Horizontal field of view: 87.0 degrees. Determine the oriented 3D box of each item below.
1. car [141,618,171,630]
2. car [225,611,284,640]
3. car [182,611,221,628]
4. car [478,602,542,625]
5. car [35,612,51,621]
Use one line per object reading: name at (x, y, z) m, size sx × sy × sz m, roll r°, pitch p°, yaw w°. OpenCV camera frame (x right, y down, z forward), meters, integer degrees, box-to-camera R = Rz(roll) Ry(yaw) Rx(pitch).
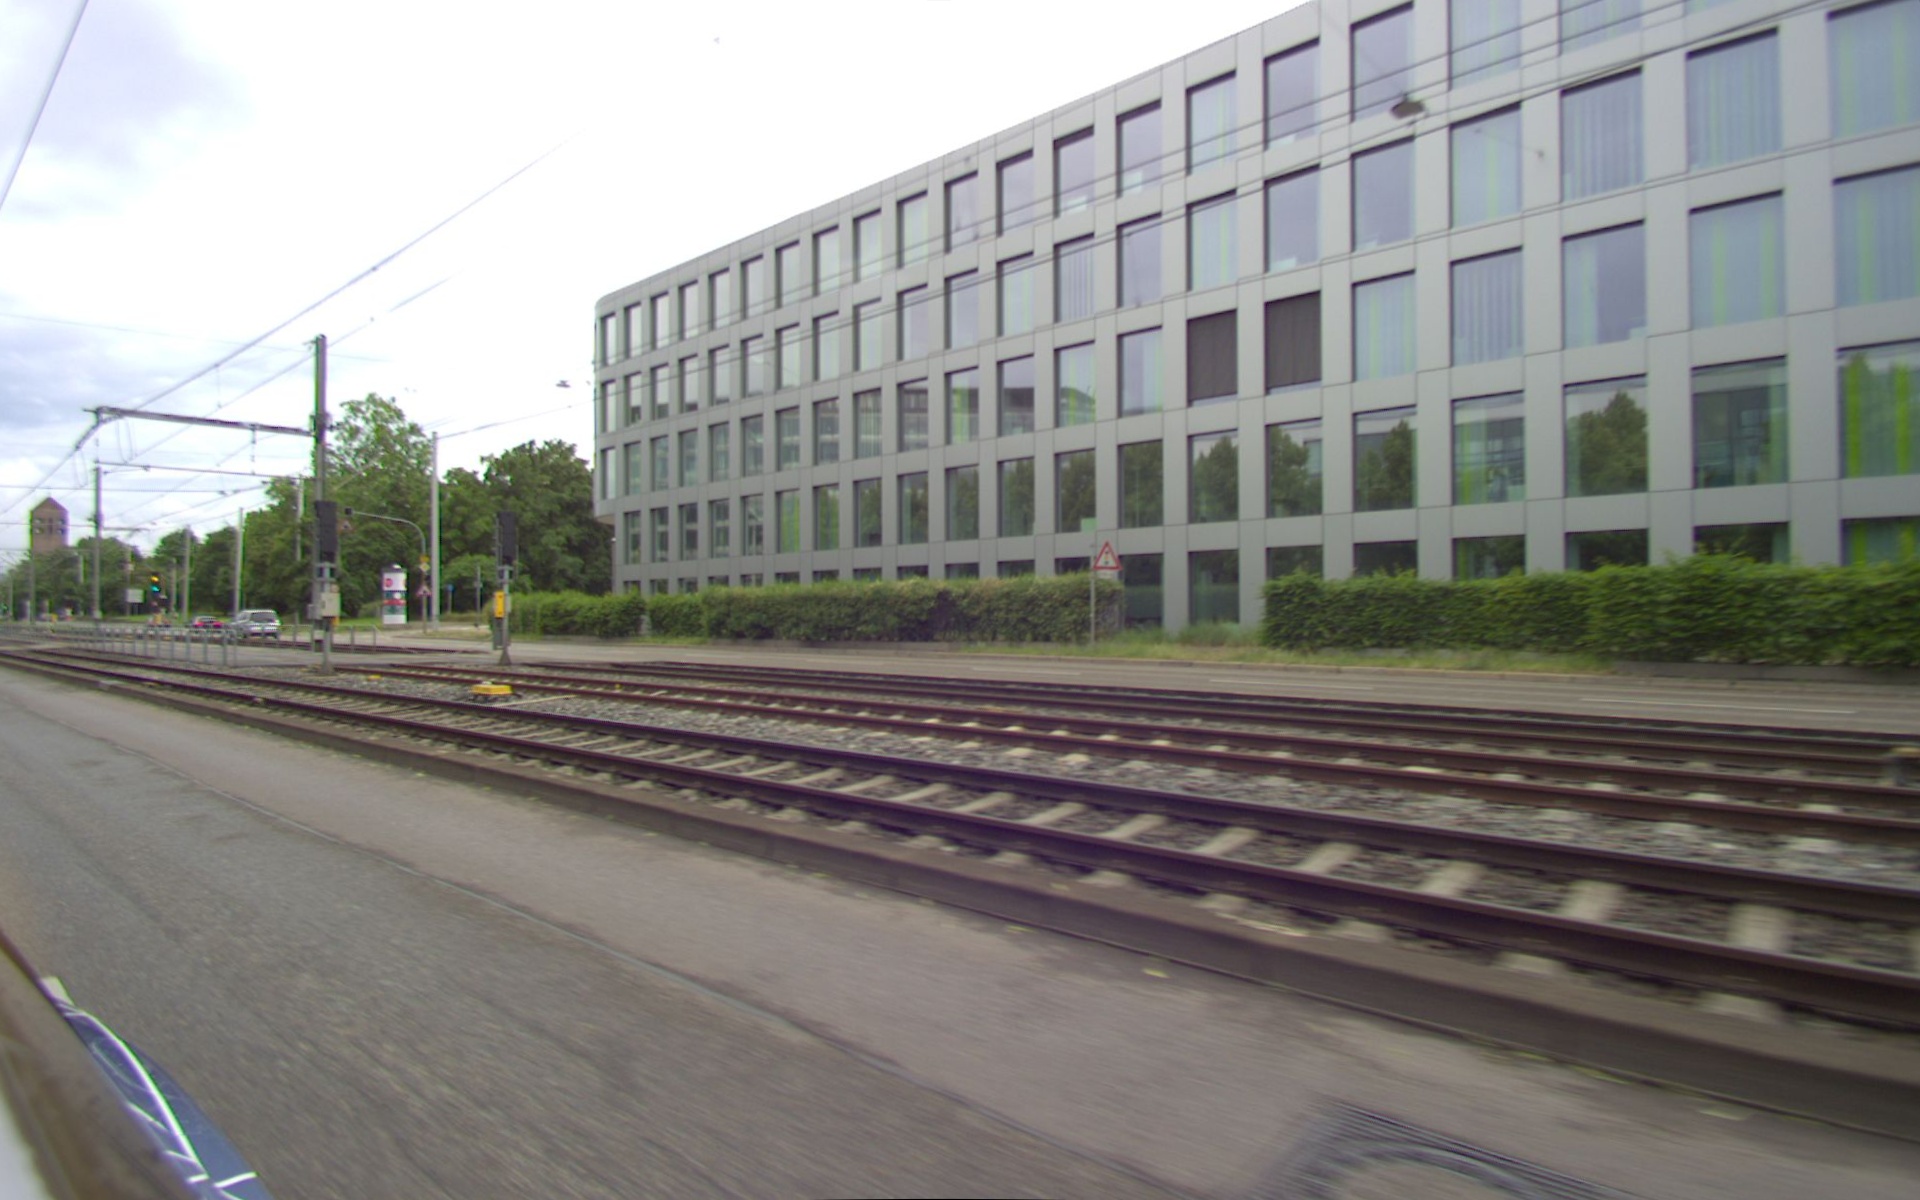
car at (-82.471, 2.443, 103.813) m, size 3.986 × 1.253 × 1.738 m, roll -1°, pitch -1°, yaw 41°
car at (-41.686, 1.470, 59.749) m, size 4.884 × 1.657 × 1.882 m, roll -1°, pitch -1°, yaw 43°
car at (-62.528, 1.631, 83.421) m, size 4.257 × 1.357 × 1.779 m, roll -1°, pitch -1°, yaw 42°
car at (-33.340, 0.982, 75.068) m, size 1.924 × 1.464 × 3.881 m, roll -1°, pitch 2°, yaw 39°
car at (-152.326, 2.737, 168.080) m, size 3.901 × 1.408 × 1.741 m, roll -1°, pitch -1°, yaw 44°
